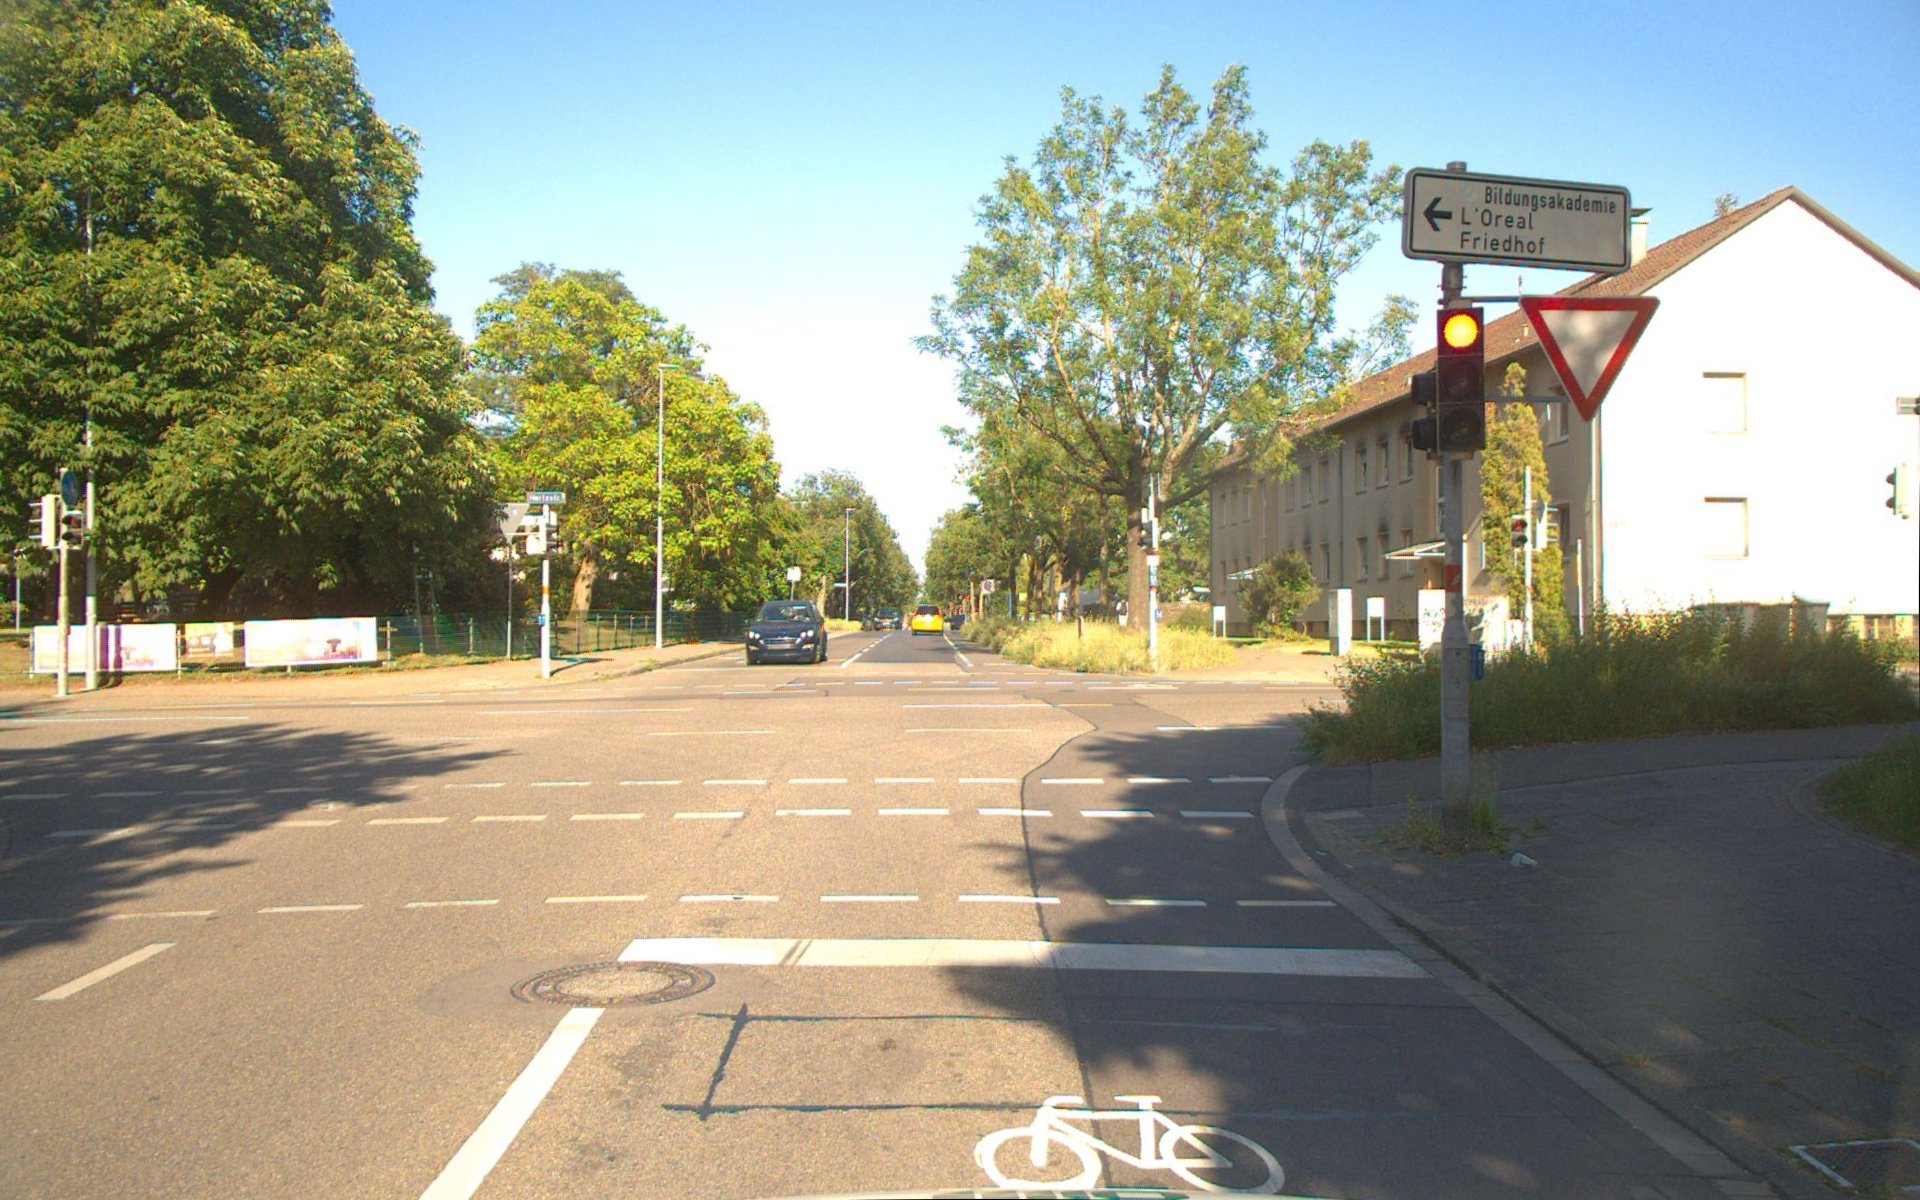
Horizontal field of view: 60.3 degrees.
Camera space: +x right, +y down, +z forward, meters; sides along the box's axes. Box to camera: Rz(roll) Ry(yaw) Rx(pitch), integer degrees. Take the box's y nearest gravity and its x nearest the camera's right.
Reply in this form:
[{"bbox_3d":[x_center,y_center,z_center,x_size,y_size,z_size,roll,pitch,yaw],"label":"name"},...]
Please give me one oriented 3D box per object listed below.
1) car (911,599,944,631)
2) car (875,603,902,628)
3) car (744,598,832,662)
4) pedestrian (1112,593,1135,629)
[{"bbox_3d":[-1.693,0.798,87.387,1.716,1.610,3.999,1,0,-1],"label":"car"},{"bbox_3d":[-4.928,1.086,114.416,1.722,1.653,3.268,0,0,0],"label":"car"},{"bbox_3d":[-3.957,0.661,38.552,1.676,1.410,3.471,0,0,0],"label":"car"},{"bbox_3d":[7.079,0.469,71.754,0.825,1.519,0.924,2,0,-1],"label":"pedestrian"}]
